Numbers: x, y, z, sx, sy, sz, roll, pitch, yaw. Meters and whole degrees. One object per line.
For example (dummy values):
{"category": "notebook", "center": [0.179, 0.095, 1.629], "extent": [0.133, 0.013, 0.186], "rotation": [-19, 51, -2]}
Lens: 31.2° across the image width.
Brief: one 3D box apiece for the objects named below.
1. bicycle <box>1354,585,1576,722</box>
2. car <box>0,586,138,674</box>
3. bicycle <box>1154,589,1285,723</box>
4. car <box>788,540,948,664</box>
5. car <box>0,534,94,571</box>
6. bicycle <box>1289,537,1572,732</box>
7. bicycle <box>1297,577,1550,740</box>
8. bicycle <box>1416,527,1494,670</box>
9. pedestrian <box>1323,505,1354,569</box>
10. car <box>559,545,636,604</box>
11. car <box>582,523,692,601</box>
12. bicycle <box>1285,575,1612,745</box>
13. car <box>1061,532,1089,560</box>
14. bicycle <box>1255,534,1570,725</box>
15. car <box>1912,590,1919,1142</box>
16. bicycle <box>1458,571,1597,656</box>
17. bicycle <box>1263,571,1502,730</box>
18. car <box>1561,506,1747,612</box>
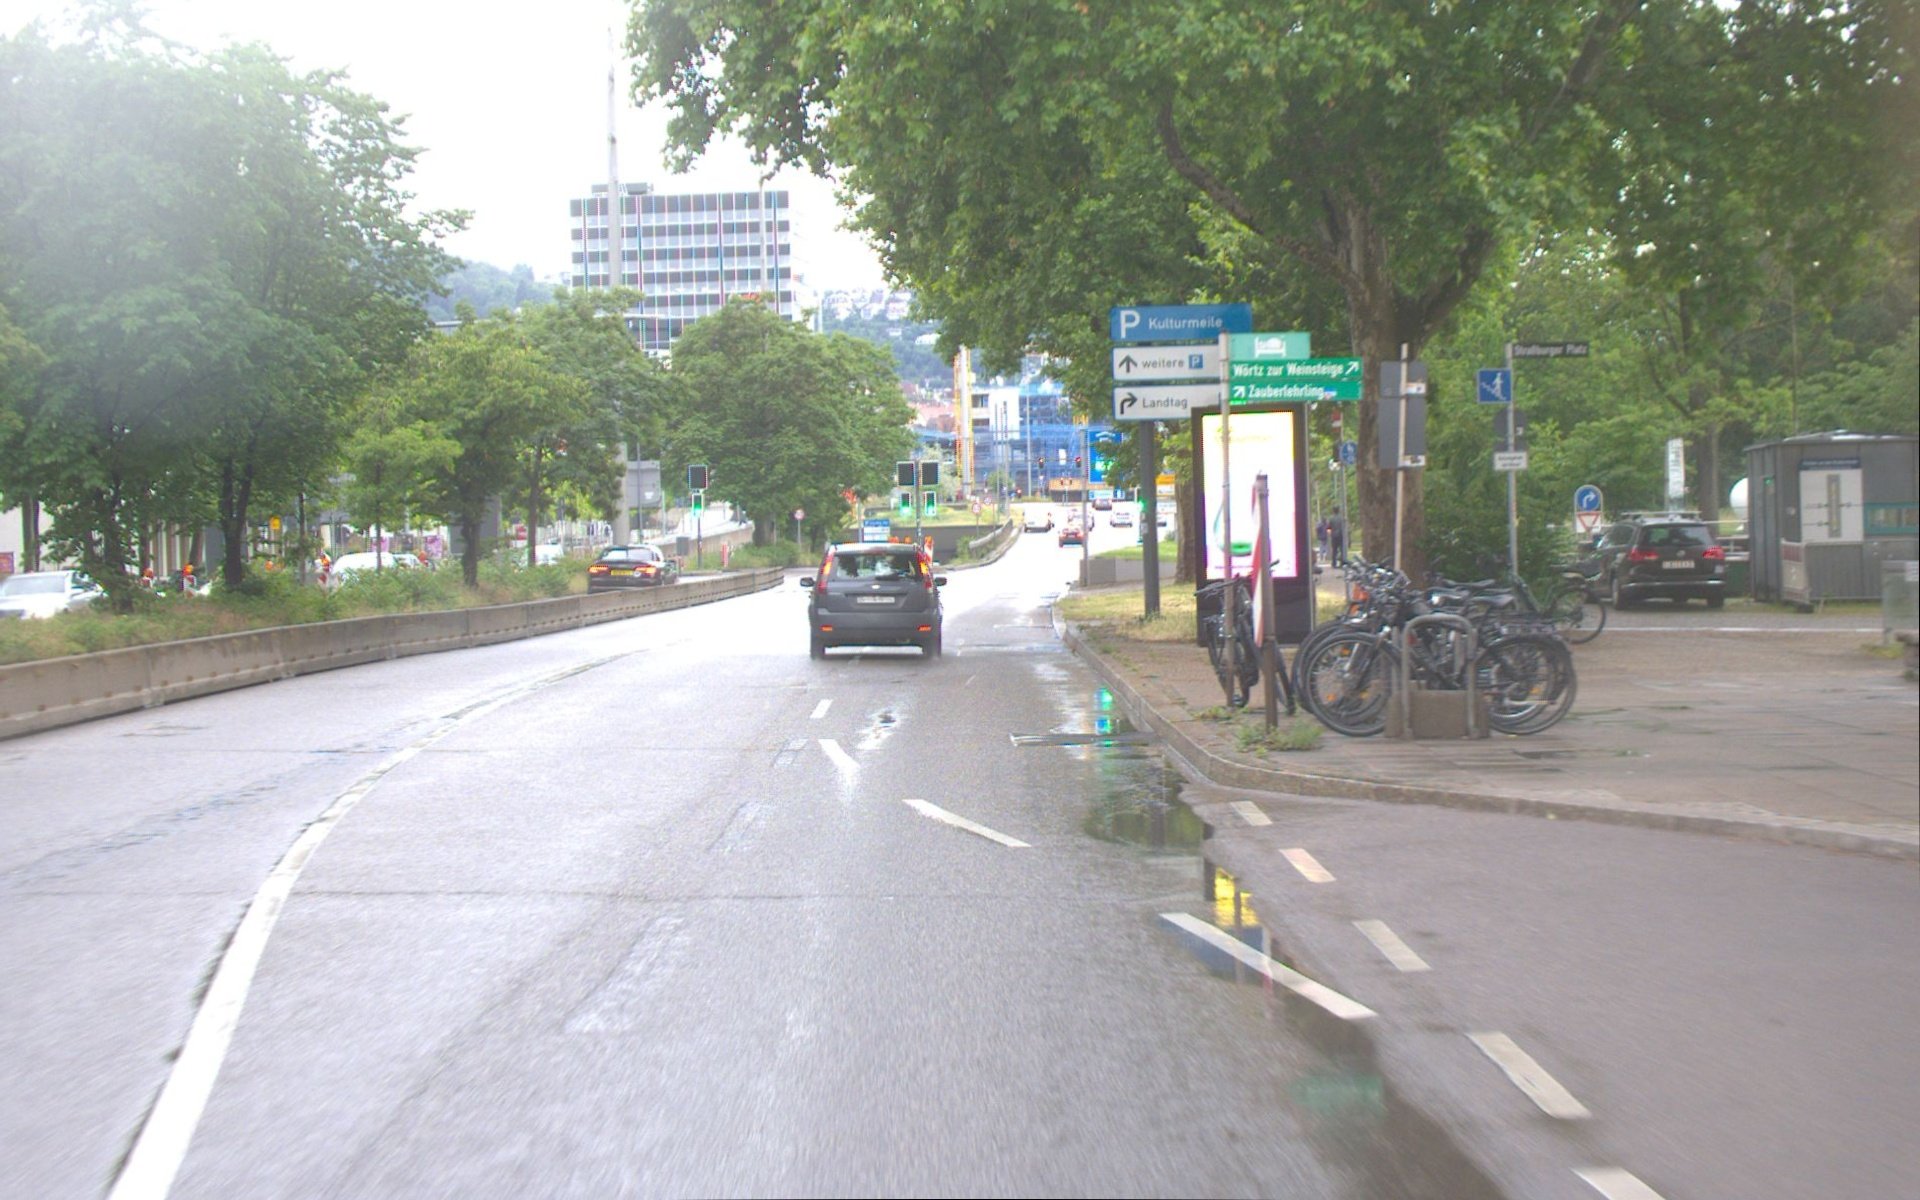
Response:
{"category": "bicycle", "center": [3.793, 0.398, 25.888], "extent": [1.589, 0.991, 0.524], "rotation": [-1, 1, 3]}
{"category": "car", "center": [-18.010, 0.586, 68.220], "extent": [1.994, 1.620, 4.808], "rotation": [-3, 0, 2]}
{"category": "bicycle", "center": [1.991, 0.414, 26.157], "extent": [0.669, 0.964, 1.636], "rotation": [-1, 1, 16]}
{"category": "car", "center": [-1.215, 0.024, 43.634], "extent": [1.844, 1.411, 3.839], "rotation": [-3, 0, -3]}
{"category": "car", "center": [-42.504, -2.212, 159.736], "extent": [3.987, 1.590, 2.000], "rotation": [-1, 1, 0]}
{"category": "bicycle", "center": [3.302, 0.238, 24.244], "extent": [1.906, 1.328, 0.650], "rotation": [-1, 0, 3]}
{"category": "bicycle", "center": [3.203, 0.399, 23.854], "extent": [1.679, 1.086, 0.650], "rotation": [-1, 0, 3]}
{"category": "bicycle", "center": [4.384, -0.019, 30.492], "extent": [0.605, 1.193, 1.904], "rotation": [-3, 0, 8]}
{"category": "pedestrian", "center": [10.370, -1.728, 94.158], "extent": [0.705, 1.712, 0.692], "rotation": [-3, 1, 3]}
{"category": "car", "center": [-9.105, -0.647, 86.606], "extent": [1.754, 1.447, 4.001], "rotation": [0, 1, -4]}
{"category": "car", "center": [-7.768, -0.945, 82.976], "extent": [1.994, 1.775, 4.000], "rotation": [-2, 1, 3]}
{"category": "bicycle", "center": [3.168, 0.382, 22.406], "extent": [1.985, 1.056, 0.759], "rotation": [-1, 0, -2]}
{"category": "car", "center": [7.859, -3.688, 234.124], "extent": [1.739, 1.765, 4.000], "rotation": [-3, 0, 3]}
{"category": "bicycle", "center": [3.254, 0.211, 24.838], "extent": [2.191, 1.332, 0.650], "rotation": [-1, 0, 3]}
{"category": "car", "center": [2.844, 0.712, 4.950], "extent": [1.931, 1.473, 3.703], "rotation": [-1, 0, 1]}
{"category": "bicycle", "center": [7.004, 0.164, 42.462], "extent": [1.641, 1.017, 0.575], "rotation": [1, 0, 6]}
{"category": "bicycle", "center": [3.081, 0.364, 25.162], "extent": [1.679, 1.118, 0.601], "rotation": [-1, 1, 3]}
{"category": "car", "center": [11.527, -0.724, 57.448], "extent": [1.993, 1.604, 5.237], "rotation": [-1, 2, 0]}
